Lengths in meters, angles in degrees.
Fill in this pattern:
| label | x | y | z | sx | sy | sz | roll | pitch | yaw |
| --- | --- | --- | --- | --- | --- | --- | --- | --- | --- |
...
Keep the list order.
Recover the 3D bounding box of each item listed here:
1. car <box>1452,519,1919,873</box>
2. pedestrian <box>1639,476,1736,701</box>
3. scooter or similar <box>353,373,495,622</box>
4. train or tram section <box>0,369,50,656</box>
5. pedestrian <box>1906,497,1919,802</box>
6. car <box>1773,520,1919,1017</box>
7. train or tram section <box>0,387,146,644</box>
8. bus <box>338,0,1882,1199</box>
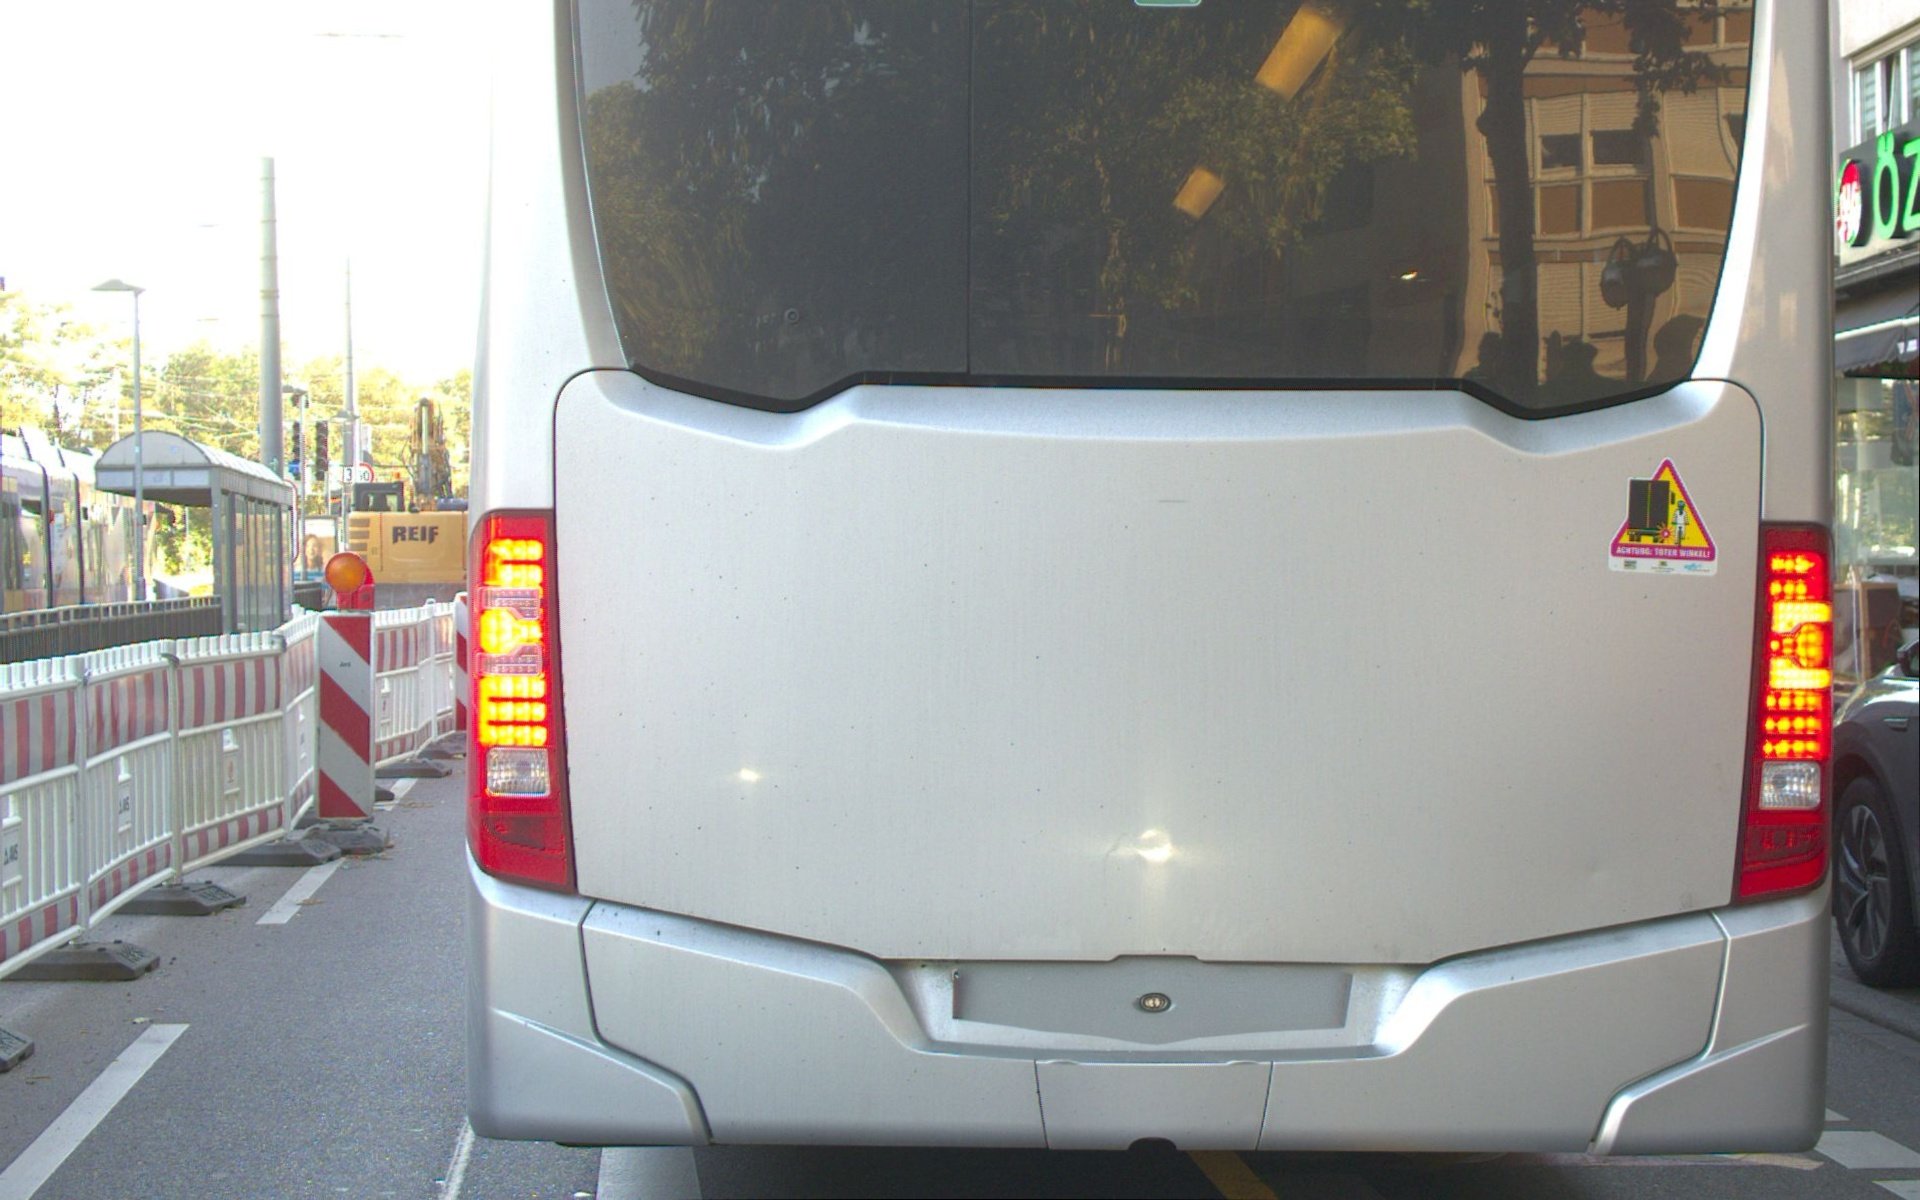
| label | x | y | z | sx | sy | sz | roll | pitch | yaw |
| --- | --- | --- | --- | --- | --- | --- | --- | --- | --- |
| car | 4.148 | 0.400 | 18.360 | 1.993 | 1.576 | 4.369 | -3 | 1 | -5 |
| pedestrian | 6.622 | -0.109 | 31.308 | 0.685 | 2.007 | 0.786 | -1 | 1 | -1 |
| scooter or similar | -10.050 | -1.880 | 64.810 | 2.468 | 4.455 | 5.974 | -1 | 1 | -8 |
| train or tram section | -13.101 | -1.084 | 41.493 | 2.686 | 3.546 | 11.585 | 1 | 1 | -8 |
| pedestrian | 5.602 | 0.254 | 18.976 | 0.664 | 1.661 | 0.600 | -2 | 0 | 16 |
| car | 4.120 | 0.523 | 10.173 | 1.993 | 1.576 | 4.369 | -3 | 1 | -5 |
| train or tram section | -14.473 | -1.236 | 52.953 | 2.686 | 3.521 | 11.585 | 1 | 1 | -8 |
| bus | 0.215 | -0.208 | 9.893 | 2.611 | 3.115 | 7.993 | 1 | 1 | -1 |
